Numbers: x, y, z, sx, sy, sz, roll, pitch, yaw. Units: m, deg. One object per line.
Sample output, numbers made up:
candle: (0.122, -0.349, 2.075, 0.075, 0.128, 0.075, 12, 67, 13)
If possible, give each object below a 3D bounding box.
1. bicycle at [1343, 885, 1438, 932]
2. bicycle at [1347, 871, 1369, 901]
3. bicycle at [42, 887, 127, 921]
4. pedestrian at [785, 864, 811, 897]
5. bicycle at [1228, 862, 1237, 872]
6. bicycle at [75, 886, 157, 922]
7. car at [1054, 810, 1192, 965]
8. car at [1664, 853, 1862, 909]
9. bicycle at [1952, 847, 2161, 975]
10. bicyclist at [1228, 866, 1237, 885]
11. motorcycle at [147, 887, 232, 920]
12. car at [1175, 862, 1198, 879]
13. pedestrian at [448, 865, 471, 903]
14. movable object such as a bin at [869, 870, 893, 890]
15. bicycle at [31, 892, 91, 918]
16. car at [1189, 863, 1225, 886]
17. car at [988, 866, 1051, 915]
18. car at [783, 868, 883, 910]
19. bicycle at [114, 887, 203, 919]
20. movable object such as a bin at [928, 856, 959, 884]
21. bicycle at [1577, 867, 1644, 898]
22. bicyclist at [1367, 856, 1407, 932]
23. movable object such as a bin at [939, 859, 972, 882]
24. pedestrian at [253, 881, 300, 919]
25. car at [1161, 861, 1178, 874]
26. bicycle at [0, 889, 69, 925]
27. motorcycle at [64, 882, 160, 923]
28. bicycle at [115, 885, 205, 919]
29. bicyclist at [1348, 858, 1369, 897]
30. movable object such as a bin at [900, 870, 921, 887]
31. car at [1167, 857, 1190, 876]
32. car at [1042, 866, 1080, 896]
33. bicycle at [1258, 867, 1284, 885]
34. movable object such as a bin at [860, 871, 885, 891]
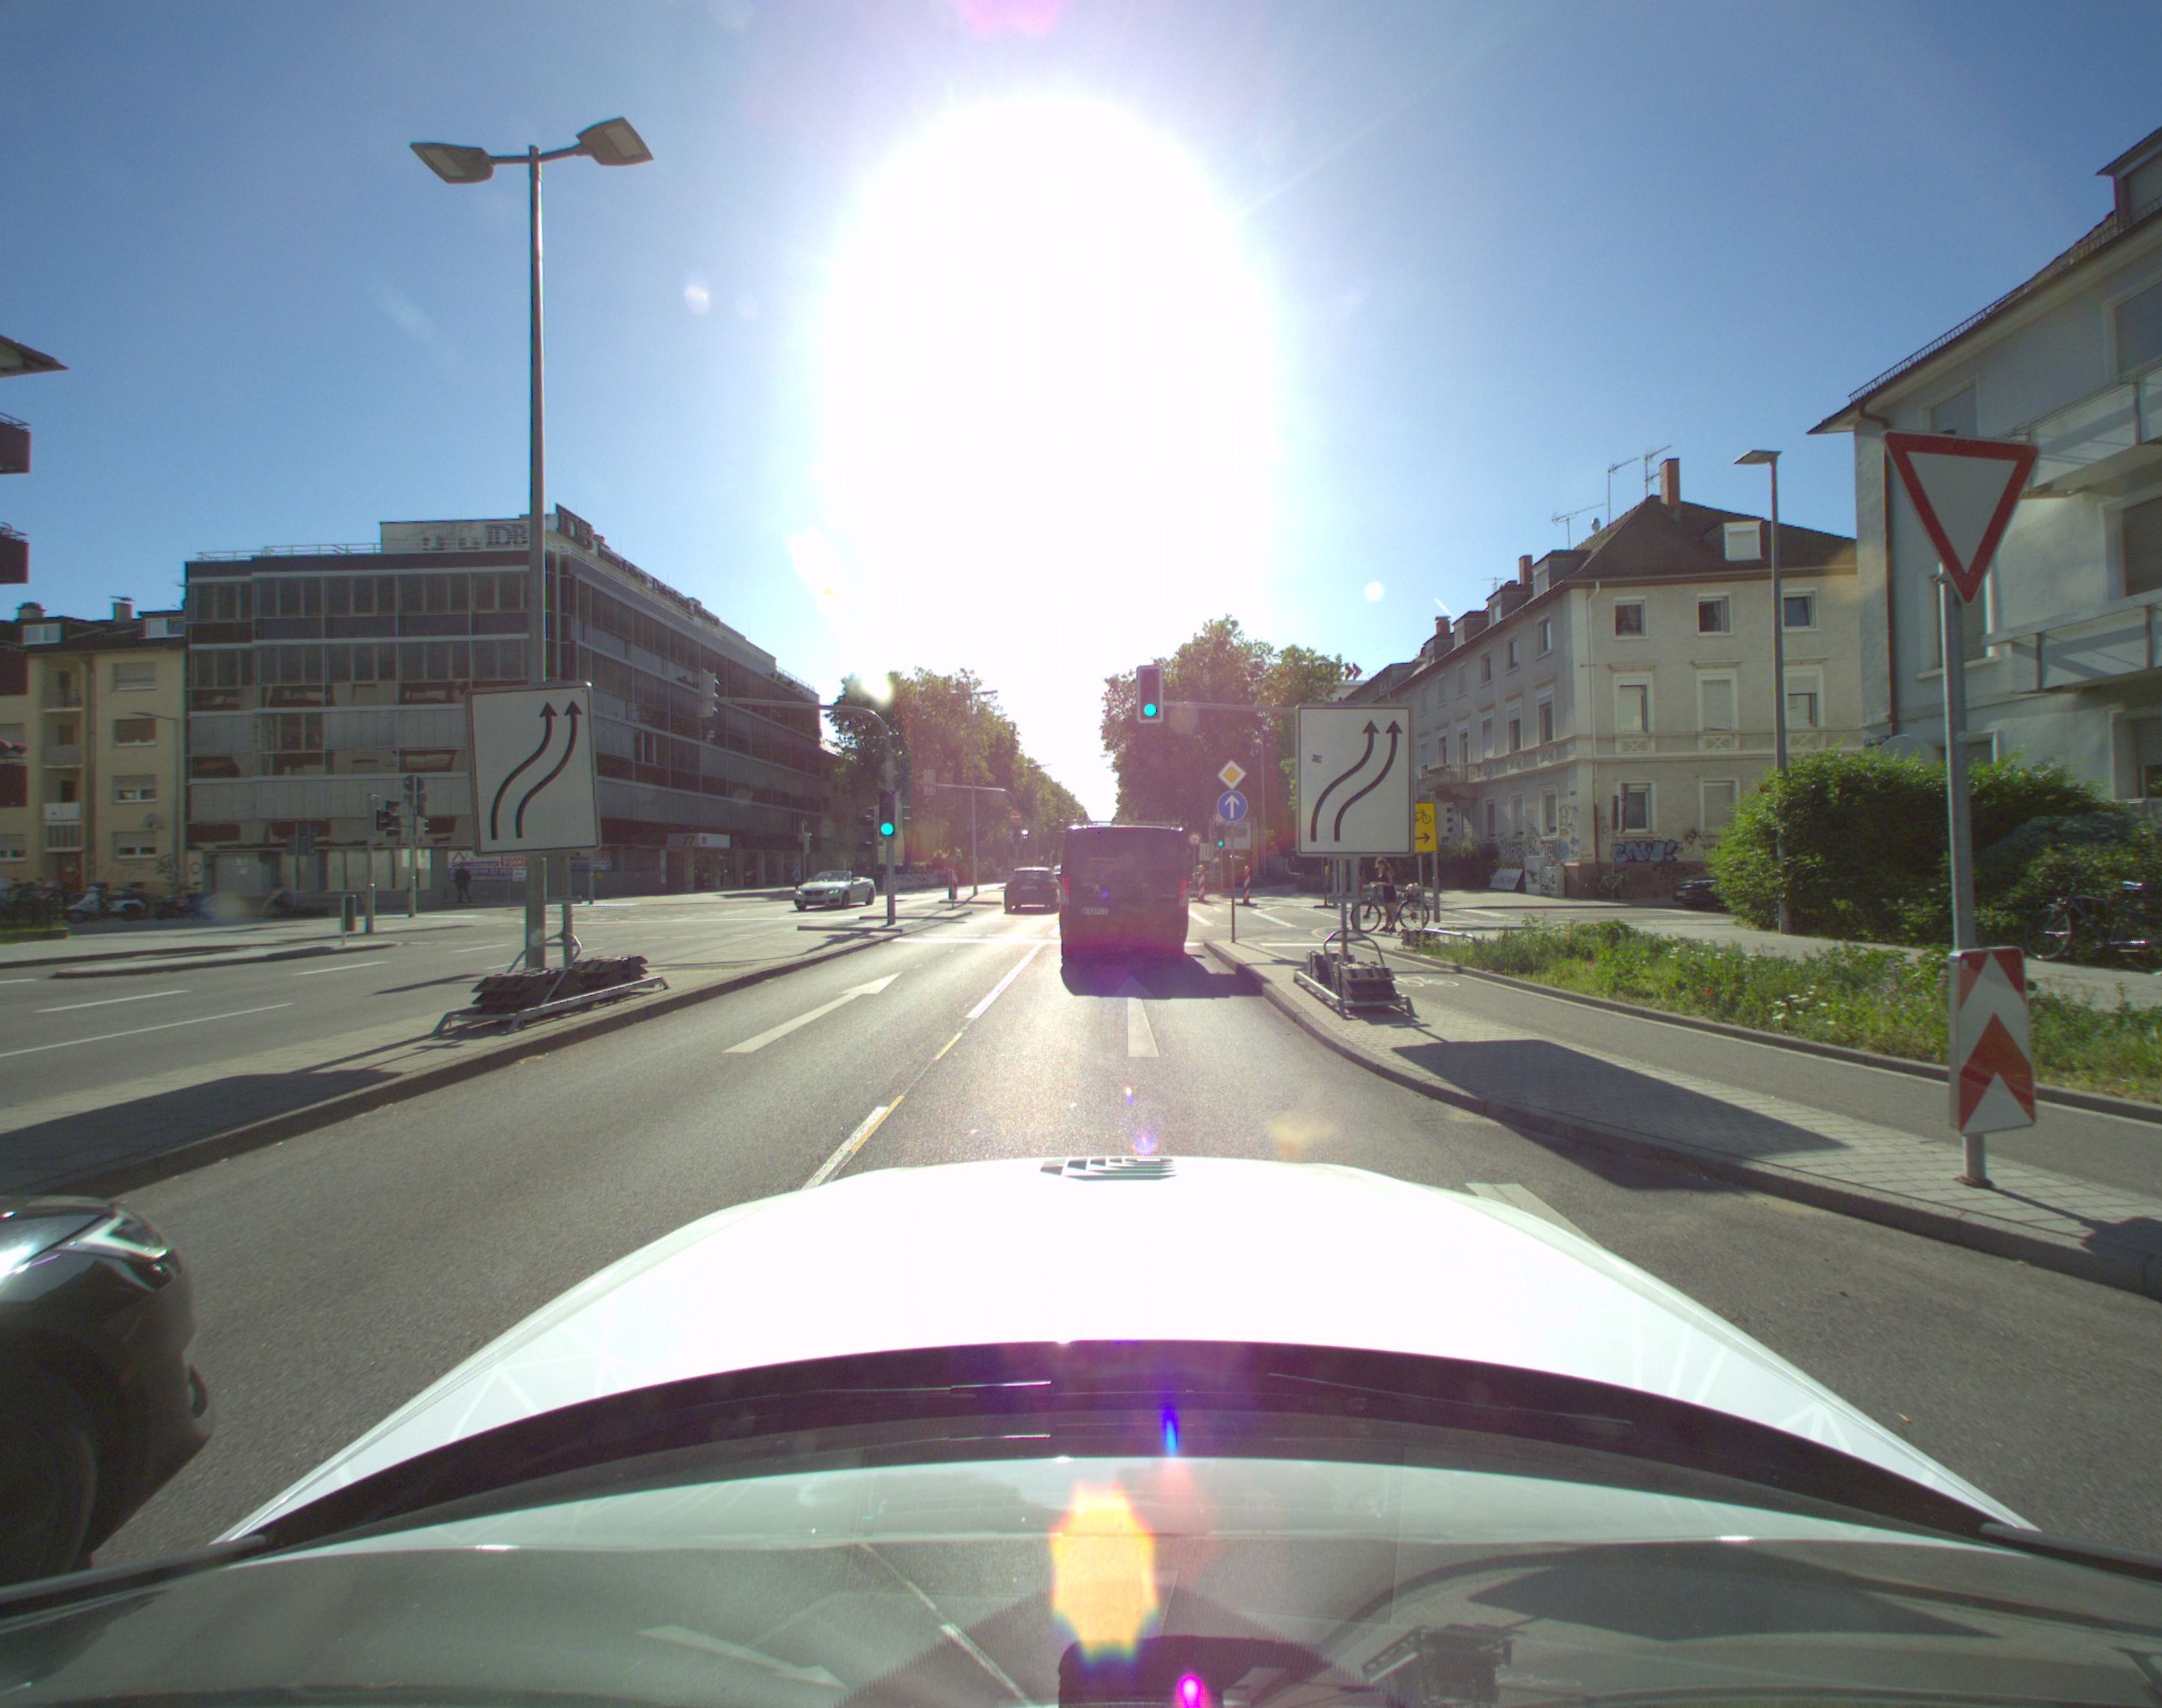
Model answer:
bicycle: (7.123, 1.250, 18.793, 1.955, 1.025, 0.605, 1, 0, 2)
bicycle: (10.851, 1.252, 31.914, 0.683, 1.098, 1.693, -1, -1, 15)
bicycle: (-32.546, 1.624, 26.632, 0.505, 1.003, 1.740, -1, -1, 8)
pedestrian: (-14.866, 1.393, 42.834, 0.859, 1.711, 1.015, -1, -1, 10)
bicycle: (14.897, 1.299, 80.109, 0.778, 0.966, 1.825, -1, -1, 5)
bicycle: (-31.480, 1.605, 26.595, 0.486, 1.068, 1.739, -1, -1, 5)
car: (0.703, 0.514, 14.338, 2.087, 2.355, 3.935, 0, 0, 2)
car: (20.587, 0.806, 24.775, 4.226, 1.619, 1.989, 0, -1, 7)
bicycle: (12.553, 0.643, 10.191, 0.705, 1.443, 2.492, 1, 0, 2)
bicyclist: (14.921, 2.085, 80.224, 0.721, 1.820, 1.071, -1, -1, 4)
motorcycle: (-28.396, 1.568, 25.986, 0.500, 0.936, 1.847, -1, -1, 10)
car: (9.696, 1.499, 74.990, 1.756, 1.508, 4.253, -1, -1, 3)
pedestrian: (-27.409, 1.303, 35.921, 0.703, 1.658, 0.739, -1, -1, -29)
movable object such as a bin: (-14.626, 1.874, 59.577, 1.209, 1.388, 1.858, -1, -1, 4)
bicycle: (-34.375, 1.707, 27.469, 0.415, 0.814, 1.711, 0, -1, -21)
car: (8.580, 1.361, 55.779, 1.845, 1.479, 4.943, -1, -1, 1)
car: (-2.023, 1.182, 27.665, 1.740, 1.407, 4.001, 0, 1, 1)
car: (-9.017, 1.225, 30.025, 1.921, 1.345, 4.324, -1, 0, 6)
bicycle: (-30.542, 1.616, 27.006, 0.474, 0.947, 1.957, -1, -1, 12)
movable object such as a bin: (-13.450, 1.566, 80.114, 2.139, 2.706, 5.353, -1, -1, 0)
bicycle: (19.049, 1.021, 29.313, 1.987, 1.080, 0.580, -1, -1, 4)
bicyclist: (7.067, 0.900, 18.853, 0.601, 1.708, 0.859, -1, -1, 3)
movable object such as a bin: (-13.245, 1.747, 86.294, 1.984, 2.279, 5.606, -2, -1, 5)
pedestrian: (-25.494, 1.450, 25.827, 0.717, 1.153, 0.786, 0, -1, -10)
car: (11.221, 1.698, 103.308, 1.814, 1.507, 4.681, -2, -1, 3)
bicycle: (-31.002, 1.531, 23.792, 0.571, 0.969, 1.740, -1, -1, 8)
motorcycle: (-29.540, 1.455, 24.865, 0.607, 1.142, 1.789, -1, -1, 12)
bicycle: (-30.004, 1.547, 26.579, 0.502, 0.978, 1.894, -1, -1, 19)
bicyclist: (10.855, 0.915, 31.863, 0.718, 1.499, 0.874, -1, -1, 14)
movable object such as a bin: (-13.918, 1.975, 66.567, 1.403, 1.338, 1.158, -1, -1, 5)
car: (10.315, 1.321, 86.665, 2.018, 1.946, 5.276, -1, -1, 2)
car: (-0.962, 1.339, 41.082, 1.740, 1.407, 4.000, 0, -1, 1)
bicycle: (10.969, 1.264, 46.959, 0.581, 1.005, 2.145, -1, -1, 37)
movable object such as a bin: (-14.649, 1.881, 57.239, 1.109, 1.388, 1.858, -1, -1, 5)
